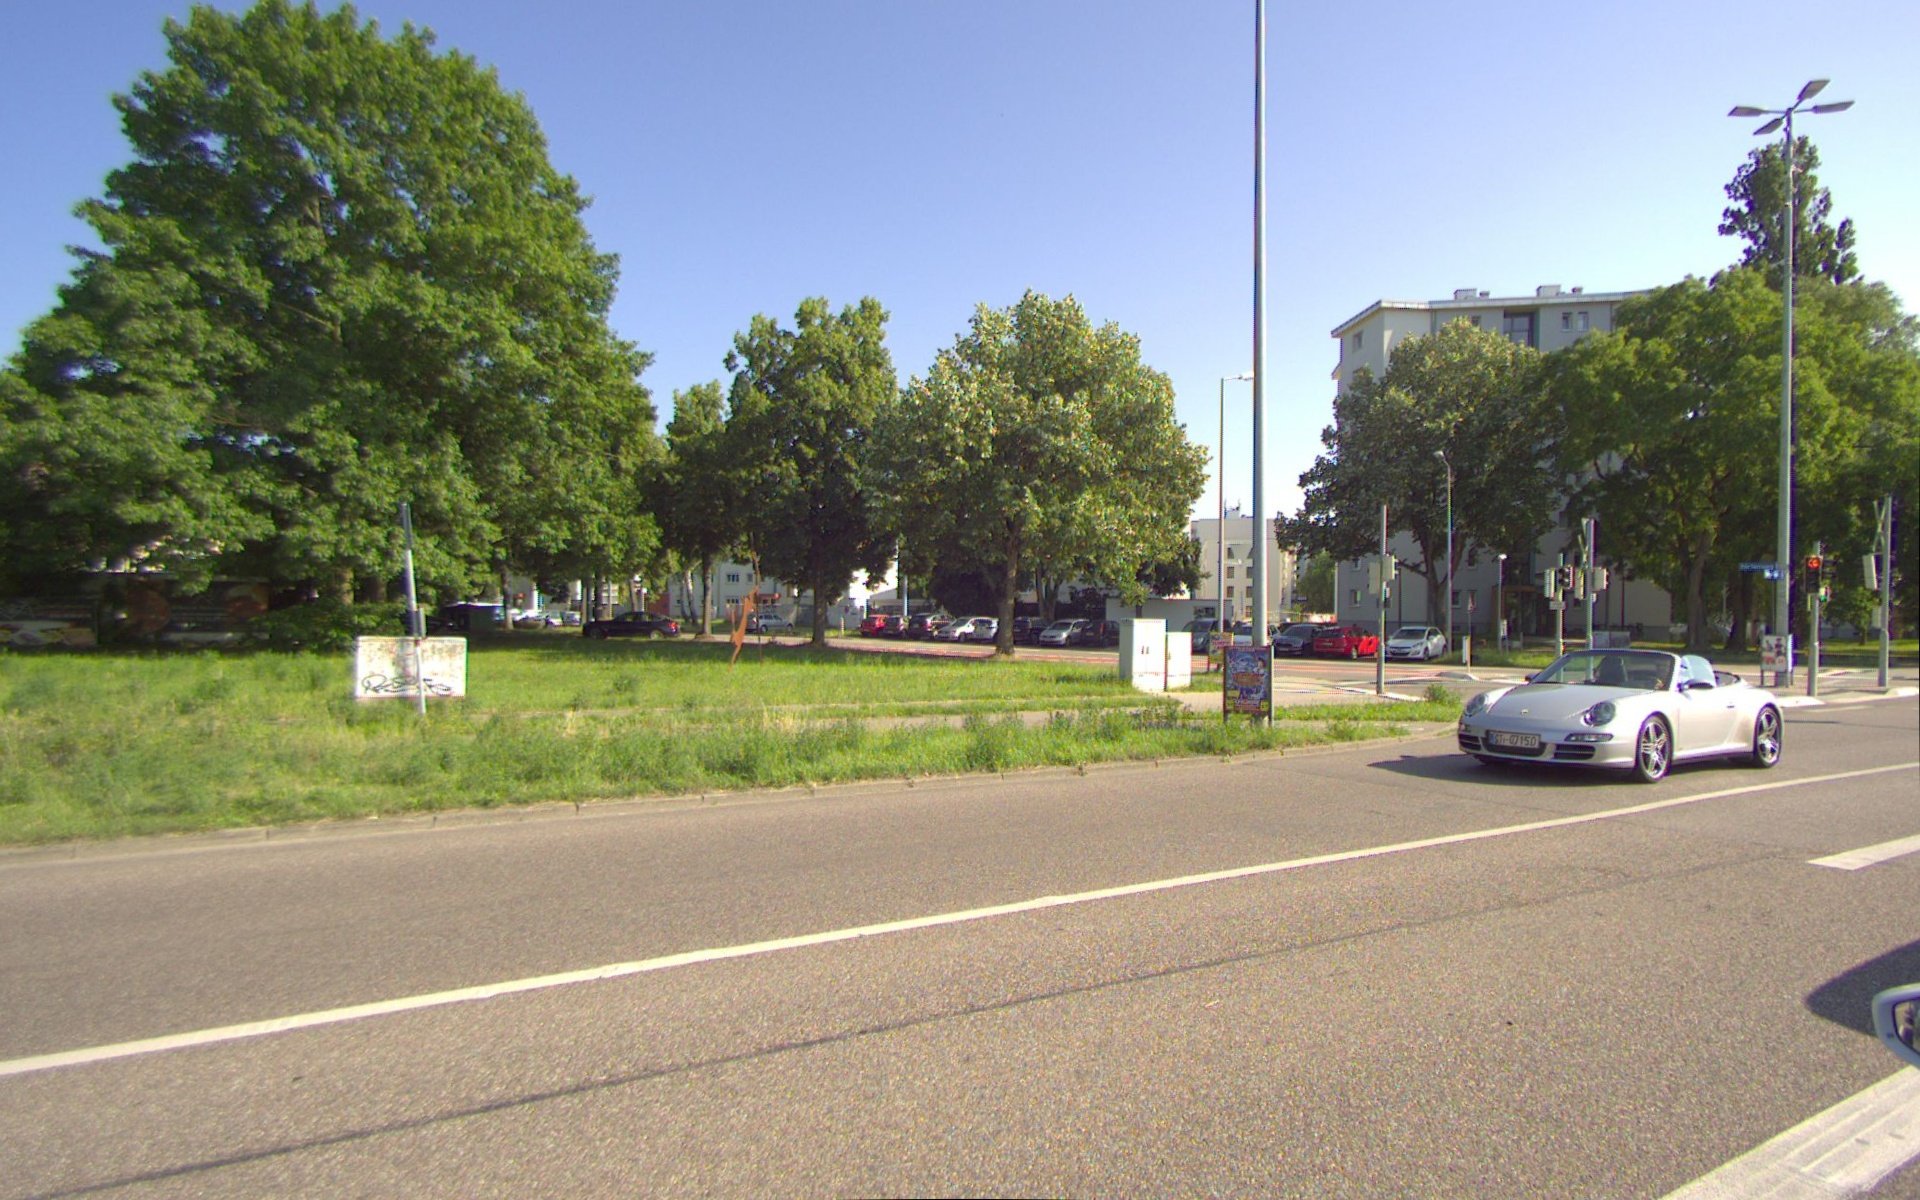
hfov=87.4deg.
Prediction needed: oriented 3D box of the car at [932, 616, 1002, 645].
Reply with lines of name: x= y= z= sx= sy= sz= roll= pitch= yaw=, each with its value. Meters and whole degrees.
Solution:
car: x=0.504 y=1.861 z=62.700 sx=1.758 sy=1.497 sz=4.791 roll=0 pitch=2 yaw=39

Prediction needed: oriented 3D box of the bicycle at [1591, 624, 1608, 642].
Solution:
bicycle: x=40.829 y=2.098 z=64.166 sx=0.601 sy=1.080 sz=1.916 roll=1 pitch=-2 yaw=24

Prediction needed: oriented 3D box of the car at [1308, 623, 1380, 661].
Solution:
car: x=18.119 y=1.942 z=47.338 sx=1.761 sy=1.435 sz=3.975 roll=0 pitch=3 yaw=44

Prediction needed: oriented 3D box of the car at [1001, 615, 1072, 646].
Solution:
car: x=4.603 y=1.795 z=59.882 sx=1.758 sy=1.497 sz=4.791 roll=0 pitch=3 yaw=39

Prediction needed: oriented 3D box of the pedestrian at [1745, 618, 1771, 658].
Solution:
pedestrian: x=35.202 y=1.665 z=44.305 sx=0.693 sy=1.736 sz=0.623 roll=-1 pitch=0 yaw=-18

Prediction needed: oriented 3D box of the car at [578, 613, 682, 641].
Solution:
car: x=-16.293 y=1.324 z=49.809 sx=4.682 sy=1.338 sz=1.524 roll=1 pitch=-1 yaw=-8

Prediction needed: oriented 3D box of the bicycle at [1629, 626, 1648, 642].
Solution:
bicycle: x=42.671 y=2.134 z=63.168 sx=0.658 sy=0.932 sz=2.404 roll=1 pitch=-1 yaw=26

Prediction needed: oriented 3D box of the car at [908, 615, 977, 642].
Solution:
car: x=-1.068 y=1.811 z=64.624 sx=1.758 sy=1.497 sz=4.791 roll=0 pitch=2 yaw=39

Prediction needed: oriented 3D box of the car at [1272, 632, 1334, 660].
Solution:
car: x=16.632 y=2.204 z=48.677 sx=1.445 sy=1.209 sz=3.765 roll=0 pitch=-1 yaw=43

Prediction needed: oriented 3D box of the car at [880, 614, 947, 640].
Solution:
car: x=-3.049 y=1.753 z=66.876 sx=1.758 sy=1.497 sz=4.791 roll=0 pitch=2 yaw=39

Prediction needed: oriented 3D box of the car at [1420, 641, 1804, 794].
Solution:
car: x=7.151 y=1.136 z=10.934 sx=4.235 sy=1.327 sz=1.771 roll=1 pitch=-1 yaw=-30

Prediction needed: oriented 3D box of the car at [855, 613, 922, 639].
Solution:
car: x=-4.812 y=1.746 z=68.343 sx=1.758 sy=1.497 sz=4.791 roll=0 pitch=2 yaw=39

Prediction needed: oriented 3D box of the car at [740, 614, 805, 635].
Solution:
car: x=-14.205 y=1.857 z=76.314 sx=1.760 sy=1.497 sz=4.786 roll=0 pitch=-1 yaw=43

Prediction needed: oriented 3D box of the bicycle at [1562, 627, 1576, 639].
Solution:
bicycle: x=39.358 y=2.103 z=64.940 sx=0.574 sy=0.718 sz=2.236 roll=1 pitch=0 yaw=26

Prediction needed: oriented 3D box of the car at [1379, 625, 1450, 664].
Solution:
car: x=20.570 y=1.961 z=45.413 sx=1.760 sy=1.459 sz=3.977 roll=0 pitch=2 yaw=43

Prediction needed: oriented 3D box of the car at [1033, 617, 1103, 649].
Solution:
car: x=6.262 y=1.836 z=57.806 sx=1.758 sy=1.497 sz=4.692 roll=0 pitch=3 yaw=39

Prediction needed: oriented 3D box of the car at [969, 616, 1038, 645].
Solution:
car: x=2.702 y=1.817 z=61.458 sx=1.758 sy=1.497 sz=4.755 roll=0 pitch=2 yaw=39

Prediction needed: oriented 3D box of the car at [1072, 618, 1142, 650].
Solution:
car: x=8.419 y=1.891 z=57.153 sx=1.758 sy=1.497 sz=4.791 roll=0 pitch=2 yaw=39

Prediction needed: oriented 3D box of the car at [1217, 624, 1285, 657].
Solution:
car: x=14.697 y=2.019 z=50.563 sx=1.759 sy=1.541 sz=3.979 roll=0 pitch=-1 yaw=41

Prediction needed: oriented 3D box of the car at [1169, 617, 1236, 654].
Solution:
car: x=12.674 y=1.847 z=52.401 sx=1.759 sy=1.835 sz=3.979 roll=0 pitch=-1 yaw=41
